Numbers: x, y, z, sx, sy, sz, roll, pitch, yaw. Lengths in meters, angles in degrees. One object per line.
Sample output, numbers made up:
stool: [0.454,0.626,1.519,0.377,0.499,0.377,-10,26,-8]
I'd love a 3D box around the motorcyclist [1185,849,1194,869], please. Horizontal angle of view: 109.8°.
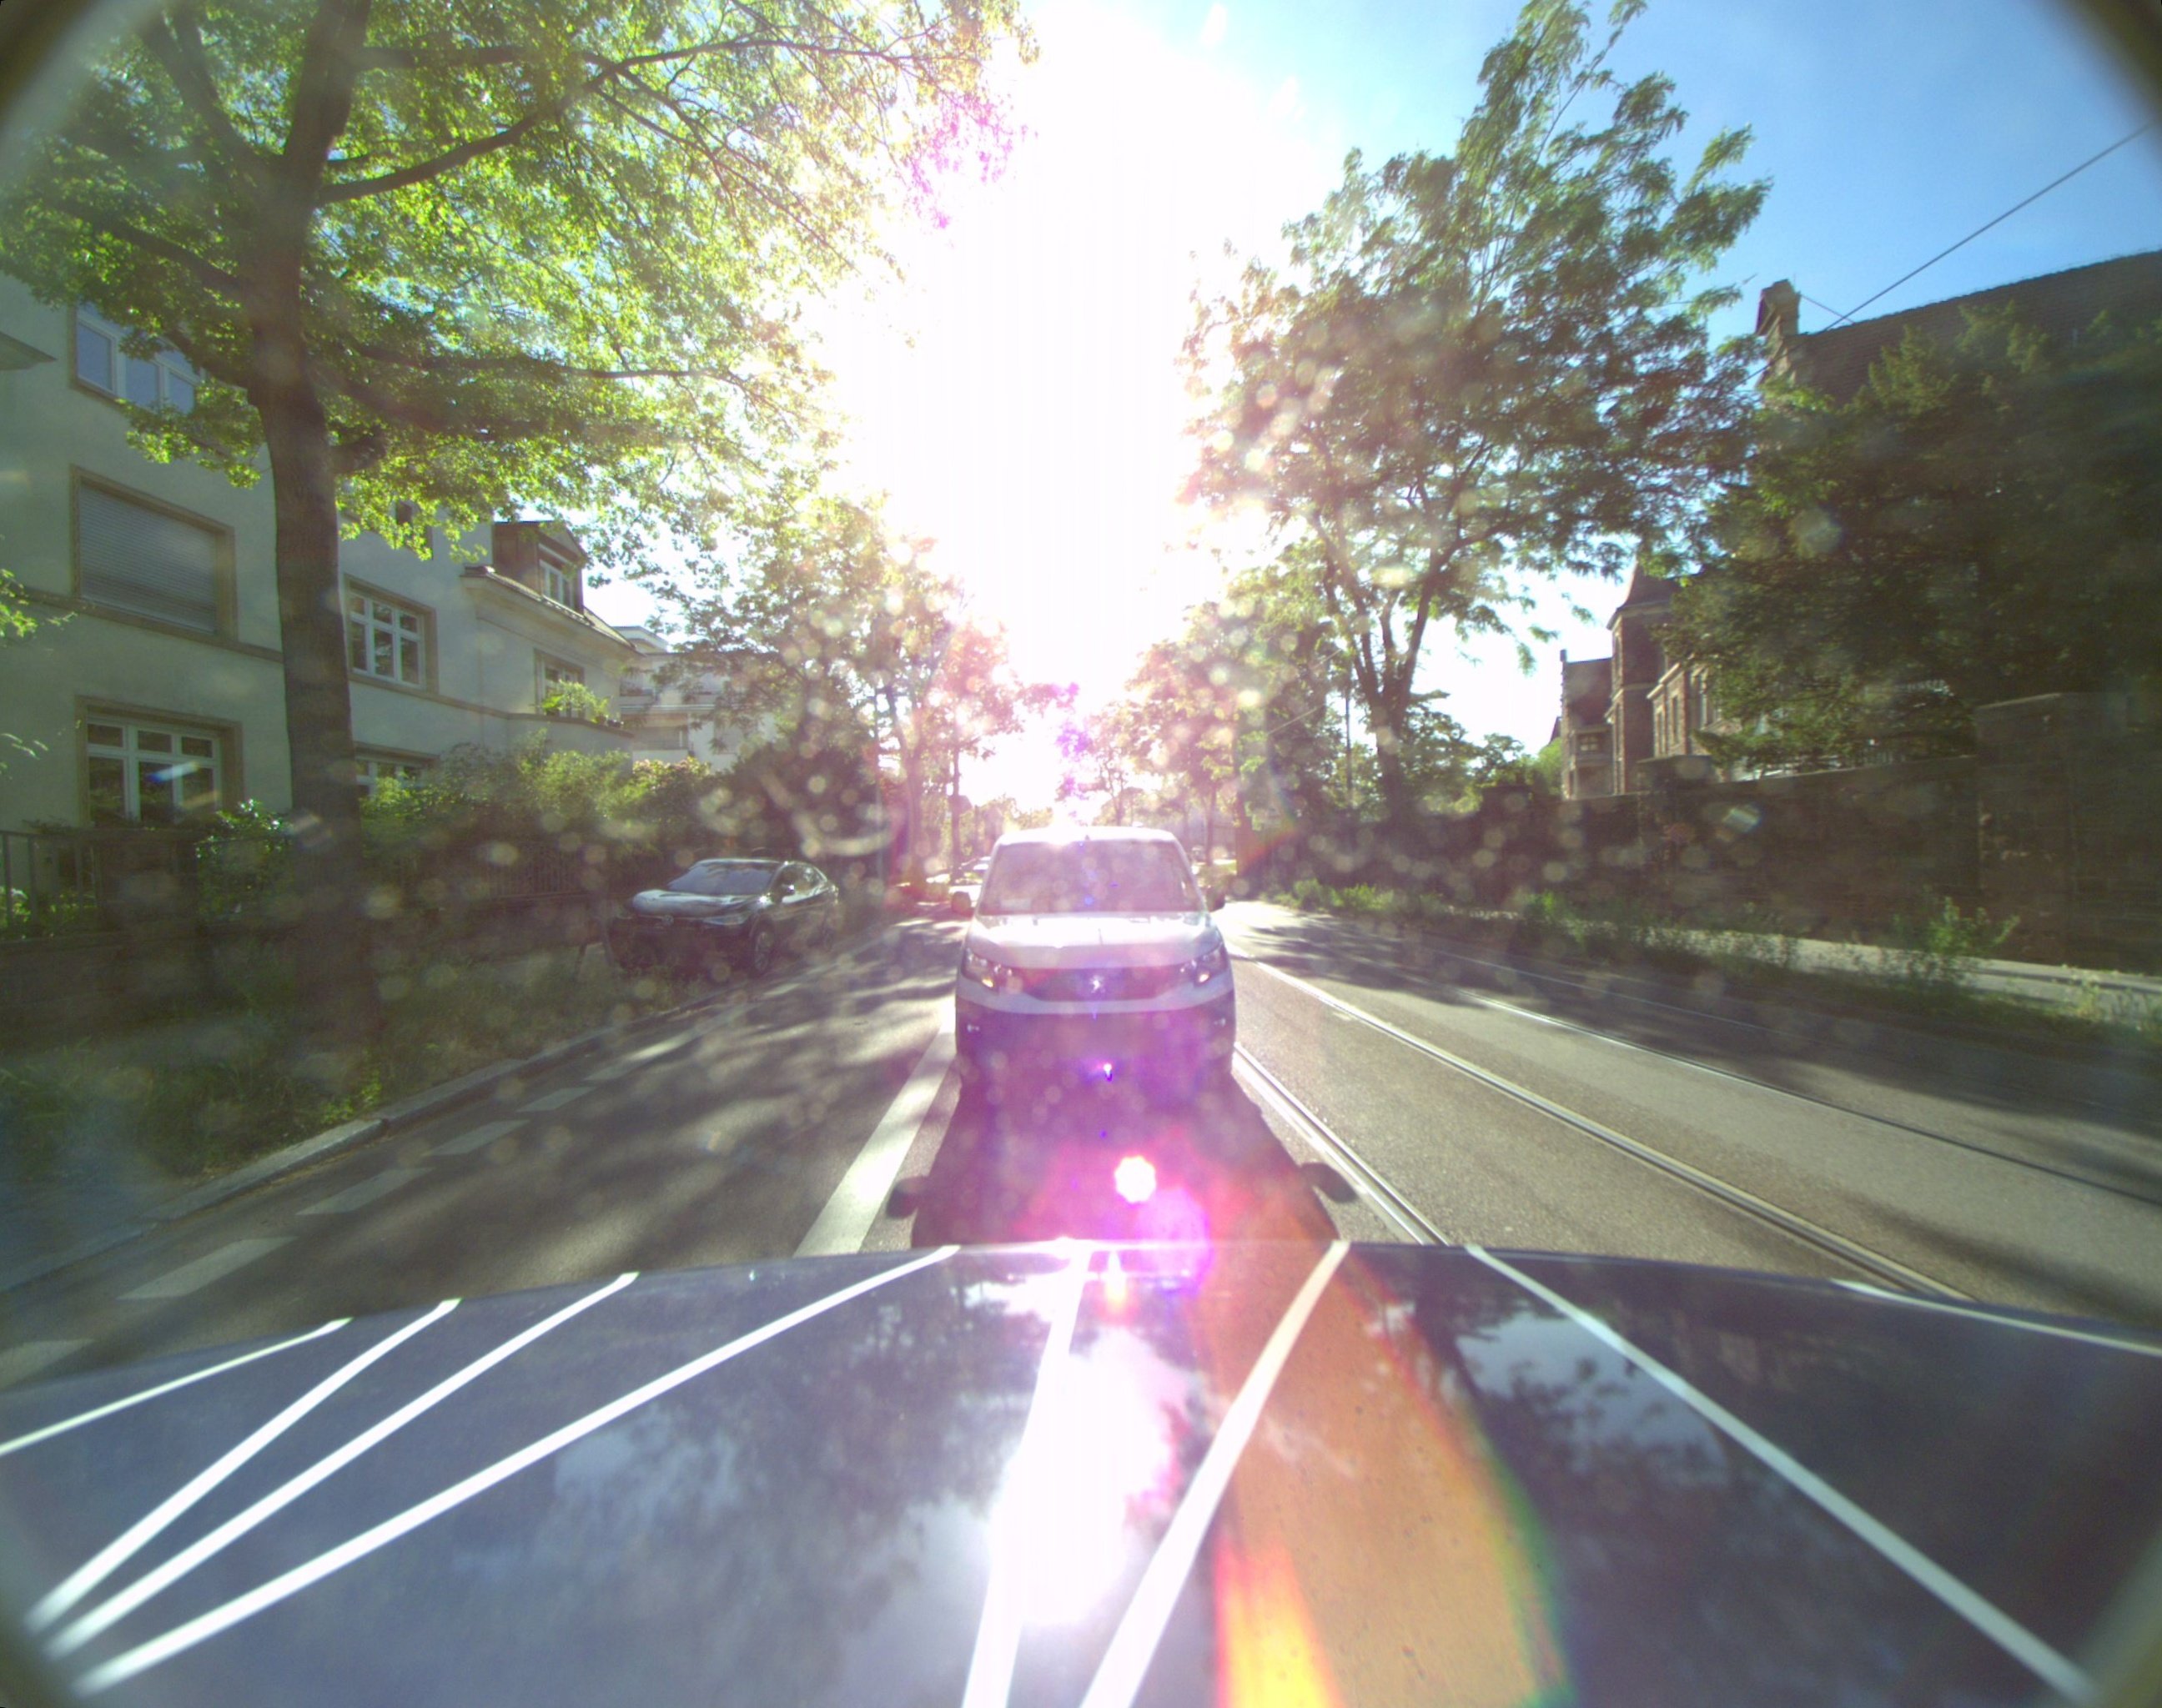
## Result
motorcyclist: [8.185,0.394,57.293,0.608,1.507,0.466,-2,1,-3]

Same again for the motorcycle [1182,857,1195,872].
motorcycle: [8.175,0.771,57.842,0.611,1.087,1.856,-2,0,-3]

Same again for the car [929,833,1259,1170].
car: [0.065,0.796,6.125,1.768,1.812,3.999,-1,0,0]

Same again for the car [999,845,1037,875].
car: [-4.237,0.399,51.923,2.129,1.884,4.746,-2,0,1]

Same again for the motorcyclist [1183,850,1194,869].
motorcyclist: [8.179,0.441,57.820,0.686,1.432,0.446,-2,1,-6]

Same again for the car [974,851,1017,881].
car: [-5.035,0.660,45.219,1.823,1.630,4.001,-2,0,4]

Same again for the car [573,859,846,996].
car: [-5.246,0.932,11.545,1.999,1.665,4.380,1,-1,0]

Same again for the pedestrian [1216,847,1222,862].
pedestrian: [21.897,0.041,120.644,0.767,2.353,0.927,-2,1,17]
